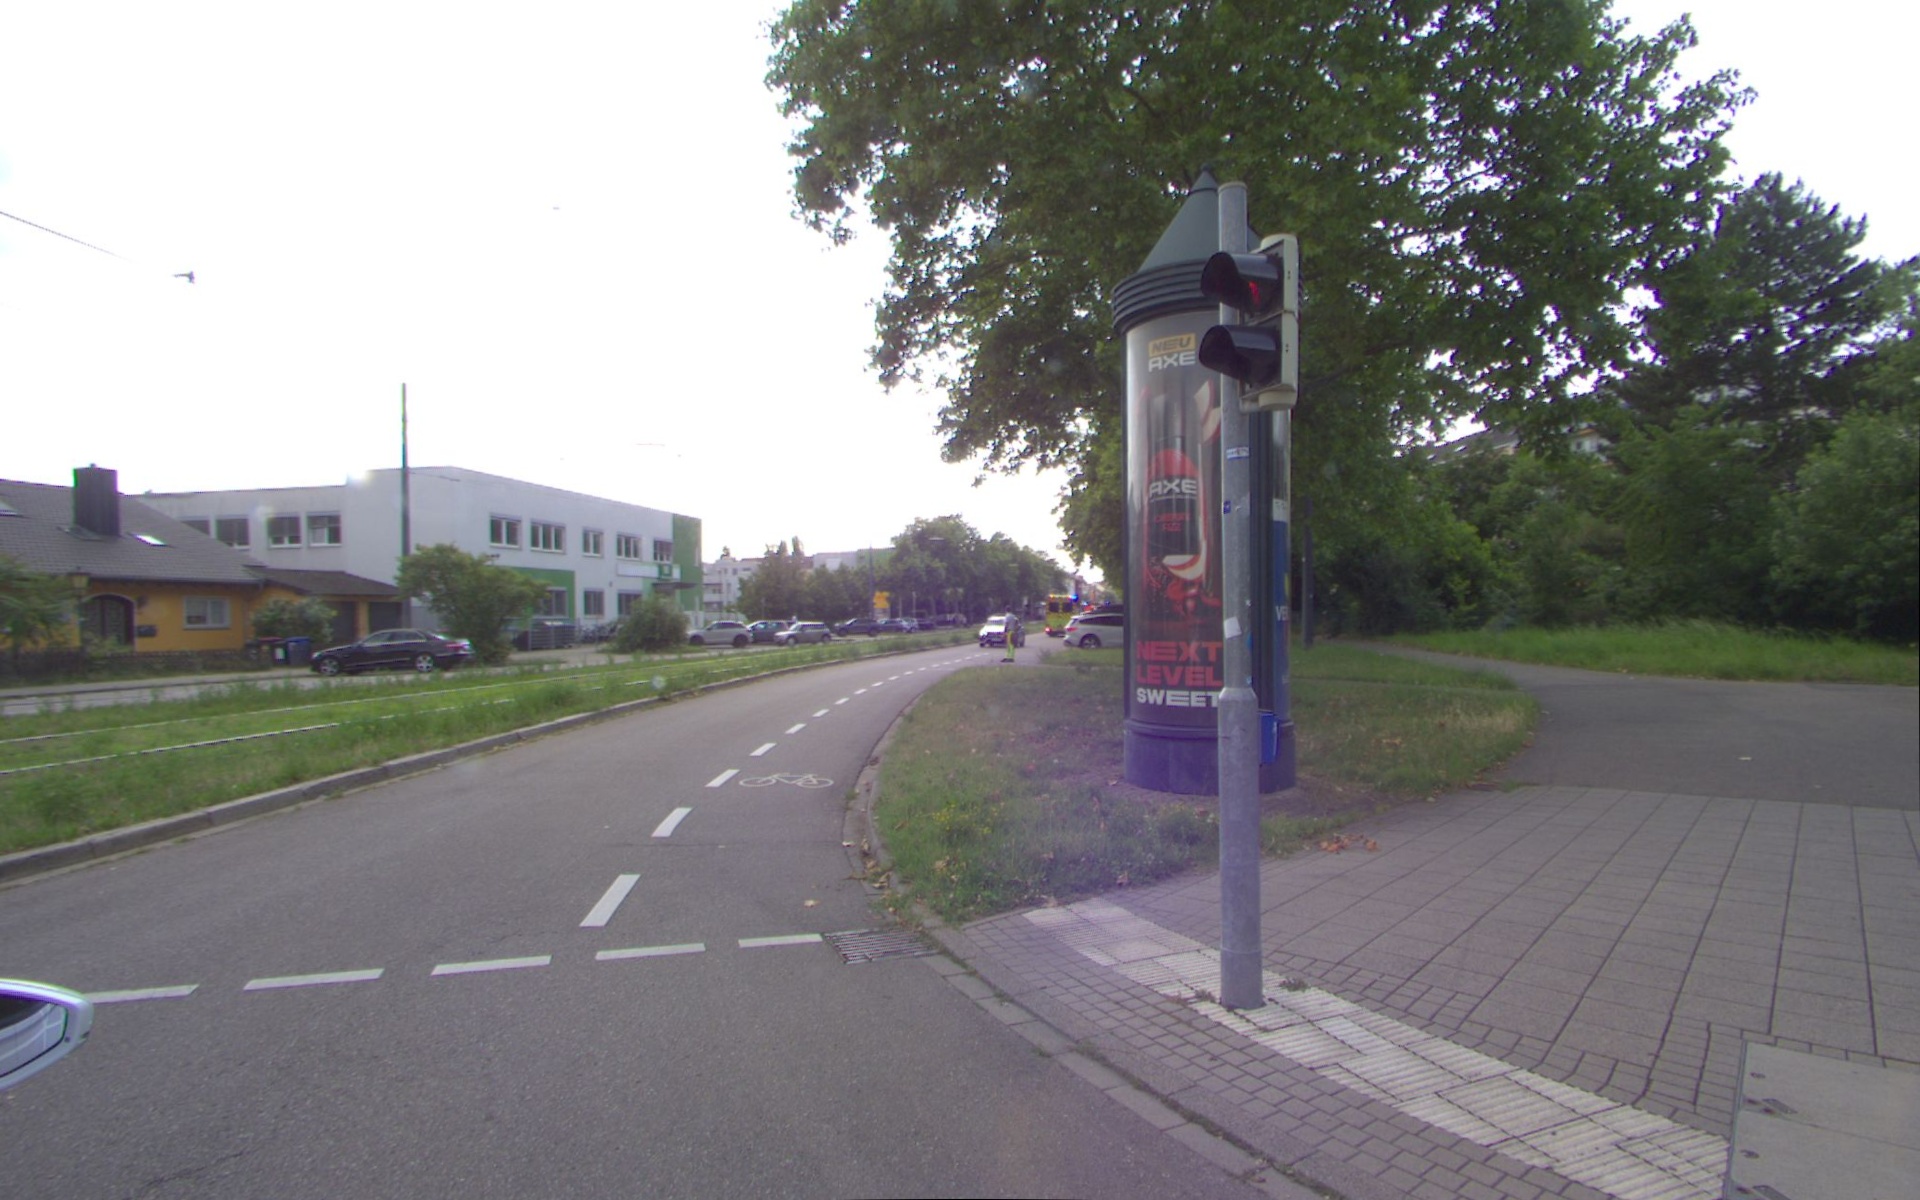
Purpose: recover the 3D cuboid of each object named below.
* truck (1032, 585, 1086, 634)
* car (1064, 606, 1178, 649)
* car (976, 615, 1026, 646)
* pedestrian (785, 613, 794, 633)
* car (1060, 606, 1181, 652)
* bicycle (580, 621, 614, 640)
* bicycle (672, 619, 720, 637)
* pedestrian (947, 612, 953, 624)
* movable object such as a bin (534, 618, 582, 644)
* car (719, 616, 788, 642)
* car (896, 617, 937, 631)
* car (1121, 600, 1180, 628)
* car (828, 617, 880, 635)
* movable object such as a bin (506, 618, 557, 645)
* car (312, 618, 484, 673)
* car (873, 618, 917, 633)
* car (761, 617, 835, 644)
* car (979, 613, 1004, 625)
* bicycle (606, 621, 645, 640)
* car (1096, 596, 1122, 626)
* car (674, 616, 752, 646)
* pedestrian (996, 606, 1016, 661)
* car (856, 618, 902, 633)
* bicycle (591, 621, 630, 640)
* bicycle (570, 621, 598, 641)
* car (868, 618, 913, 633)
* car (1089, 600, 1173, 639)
[{"bbox_3d":[7.423,0.711,73.943,3.134,3.361,7.518,-1,-1,12],"label":"truck"},{"bbox_3d":[6.551,1.127,40.941,4.456,1.665,2.000,-1,-2,9],"label":"car"},{"bbox_3d":[2.032,1.442,48.621,1.806,1.411,4.604,0,-1,10],"label":"car"},{"bbox_3d":[-14.244,1.898,83.521,0.586,1.697,0.541,-1,0,2],"label":"pedestrian"},{"bbox_3d":[6.120,1.132,38.392,4.456,1.665,2.000,-1,-2,9],"label":"car"},{"bbox_3d":[-21.518,1.783,59.382,1.763,1.096,0.736,-1,0,9],"label":"bicycle"},{"bbox_3d":[-18.600,1.977,70.519,3.083,1.181,1.142,-1,0,7],"label":"bicycle"},{"bbox_3d":[-1.489,2.674,149.428,0.610,1.752,0.646,1,0,11],"label":"pedestrian"},{"bbox_3d":[-21.429,1.641,53.385,1.351,1.344,2.129,-1,0,15],"label":"movable object such as a bin"},{"bbox_3d":[-13.383,1.858,64.979,4.239,1.650,1.899,0,-1,-17],"label":"car"},{"bbox_3d":[-4.791,2.613,109.488,4.234,1.381,1.900,-1,0,-11],"label":"car"},{"bbox_3d":[24.858,1.843,131.155,7.314,3.373,2.975,1,-1,6],"label":"car"},{"bbox_3d":[-9.004,2.194,85.116,4.235,1.381,1.900,-1,0,-13],"label":"car"},{"bbox_3d":[-21.908,1.589,51.250,1.351,1.344,2.115,-1,0,15],"label":"movable object such as a bin"},{"bbox_3d":[-18.476,1.473,33.142,4.493,1.601,1.999,-2,0,-9],"label":"car"},{"bbox_3d":[-6.594,2.561,101.140,4.234,1.381,1.900,-1,0,-11],"label":"car"},{"bbox_3d":[-10.138,1.908,62.808,4.260,1.650,1.889,1,-1,-35],"label":"car"},{"bbox_3d":[5.371,3.245,171.767,3.933,1.862,1.817,2,-1,-21],"label":"car"},{"bbox_3d":[-21.353,1.945,63.994,2.375,1.181,0.747,-1,0,18],"label":"bicycle"},{"bbox_3d":[17.686,1.395,118.503,2.918,3.373,7.458,1,-1,9],"label":"car"},{"bbox_3d":[-14.588,1.816,59.033,4.244,1.650,1.896,0,0,-22],"label":"car"},{"bbox_3d":[1.458,1.043,31.442,0.576,1.706,0.494,0,0,10],"label":"pedestrian"},{"bbox_3d":[-7.714,2.425,95.340,4.234,1.381,1.900,-1,0,-11],"label":"car"},{"bbox_3d":[-21.991,1.905,62.959,2.309,1.181,0.759,-1,0,17],"label":"bicycle"},{"bbox_3d":[-22.746,1.873,60.618,1.596,1.181,0.703,-1,0,28],"label":"bicycle"},{"bbox_3d":[-6.863,2.504,98.556,4.234,1.381,1.900,-1,0,-11],"label":"car"},{"bbox_3d":[9.512,1.090,55.589,4.471,2.039,1.999,-1,-1,12],"label":"car"}]
